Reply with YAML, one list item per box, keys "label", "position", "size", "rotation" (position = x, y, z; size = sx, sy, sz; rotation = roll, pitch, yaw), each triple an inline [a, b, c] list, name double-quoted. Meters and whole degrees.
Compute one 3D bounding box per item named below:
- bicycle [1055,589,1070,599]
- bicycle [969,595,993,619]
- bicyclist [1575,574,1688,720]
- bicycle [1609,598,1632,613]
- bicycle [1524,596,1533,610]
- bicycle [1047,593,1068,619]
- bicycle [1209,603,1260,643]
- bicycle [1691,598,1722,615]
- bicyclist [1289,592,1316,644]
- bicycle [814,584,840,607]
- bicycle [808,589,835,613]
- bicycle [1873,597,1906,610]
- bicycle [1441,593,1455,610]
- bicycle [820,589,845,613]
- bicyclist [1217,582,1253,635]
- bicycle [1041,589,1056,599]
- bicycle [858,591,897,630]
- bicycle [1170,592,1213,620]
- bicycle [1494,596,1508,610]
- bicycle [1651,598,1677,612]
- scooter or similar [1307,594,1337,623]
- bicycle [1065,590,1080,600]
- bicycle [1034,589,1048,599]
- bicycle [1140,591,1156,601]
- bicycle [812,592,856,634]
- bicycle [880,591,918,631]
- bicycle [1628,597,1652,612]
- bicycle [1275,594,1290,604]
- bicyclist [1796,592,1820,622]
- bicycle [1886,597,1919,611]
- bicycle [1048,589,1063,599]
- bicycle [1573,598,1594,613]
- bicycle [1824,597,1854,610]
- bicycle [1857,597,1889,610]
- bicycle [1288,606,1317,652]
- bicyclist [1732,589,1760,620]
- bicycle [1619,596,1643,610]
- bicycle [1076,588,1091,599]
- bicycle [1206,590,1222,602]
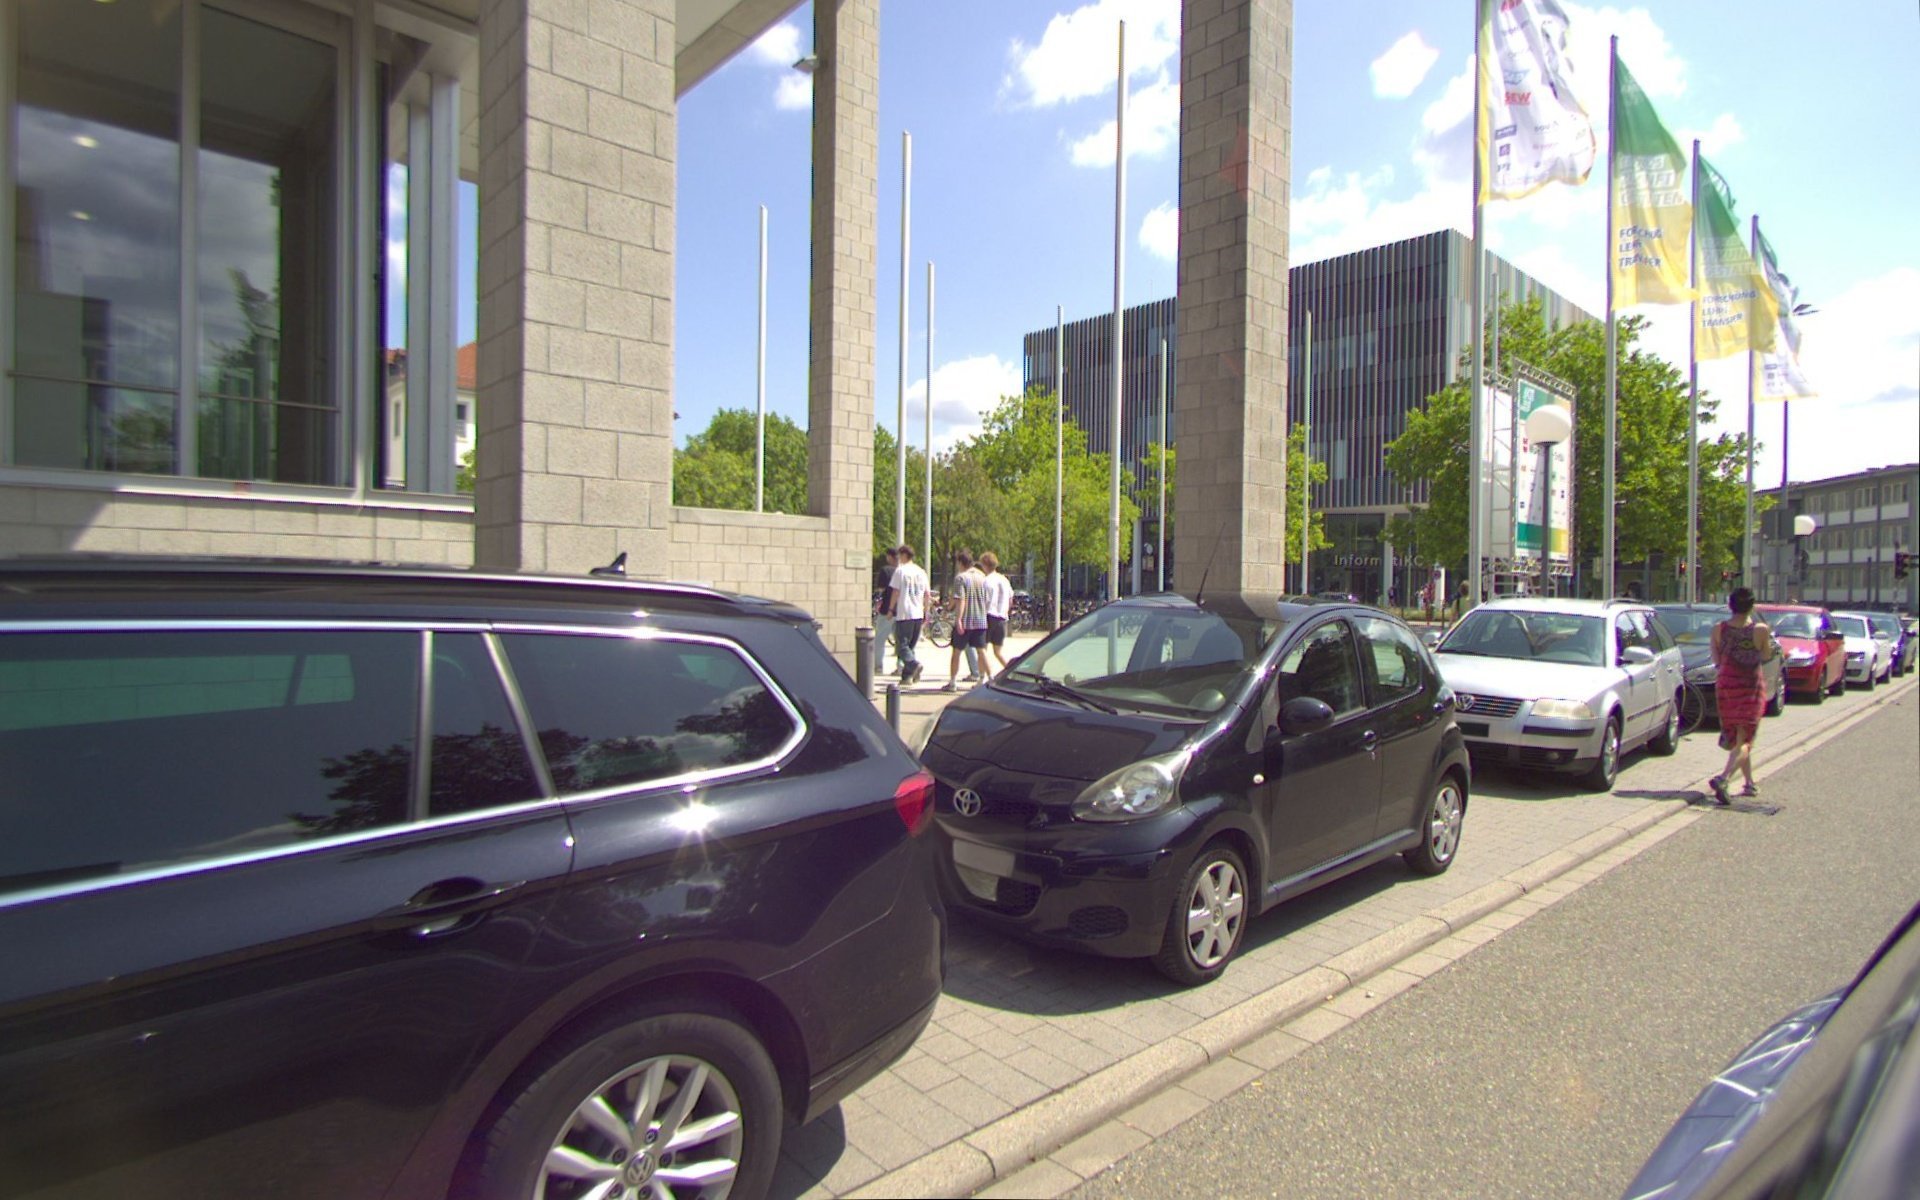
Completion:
- label: "bicycle"
  position: [10.525, -0.663, 104.143]
  size: [1.755, 0.967, 0.432]
  rotation: [-2, 2, -43]
- label: "bicycle"
  position: [0.894, 0.297, 42.663]
  size: [0.596, 0.966, 1.758]
  rotation: [0, 0, 17]
- label: "bicyclist"
  position: [7.692, 0.506, 11.611]
  size: [0.652, 1.583, 0.931]
  rotation: [1, 1, -42]
- label: "bicycle"
  position: [47.062, 0.376, 72.124]
  size: [0.519, 0.967, 1.773]
  rotation: [0, 1, 2]
- label: "bicycle"
  position: [41.455, 0.204, 73.813]
  size: [0.524, 0.967, 1.756]
  rotation: [1, 2, 28]
- label: "bicycle"
  position: [4.548, 0.269, 47.134]
  size: [0.596, 1.112, 1.759]
  rotation: [0, 2, 17]
- label: "bicycle"
  position: [8.324, 0.691, 30.693]
  size: [1.663, 1.152, 0.681]
  rotation: [2, 0, -43]
- label: "bicycle"
  position: [47.122, 0.399, 63.887]
  size: [0.518, 0.967, 1.775]
  rotation: [0, 1, -4]
- label: "bicyclist"
  position: [9.070, 0.480, 26.799]
  size: [0.599, 1.337, 0.739]
  rotation: [2, 0, 16]
- label: "bicycle"
  position: [-6.662, -0.227, 50.755]
  size: [0.595, 1.112, 1.759]
  rotation: [0, 2, 16]
- label: "bicycle"
  position: [-6.676, 0.035, 48.870]
  size: [0.584, 1.112, 1.759]
  rotation: [0, 2, 16]
- label: "bicycle"
  position: [70.839, 0.247, 77.123]
  size: [1.751, 0.967, 0.526]
  rotation: [1, 2, 21]
- label: "bicycle"
  position: [36.054, 0.109, 74.785]
  size: [1.521, 1.201, 0.373]
  rotation: [-2, 3, -44]
- label: "bicycle"
  position: [-6.109, 0.039, 48.641]
  size: [0.509, 1.112, 1.759]
  rotation: [0, 2, 16]
- label: "bicyclist"
  position: [8.344, 0.253, 30.702]
  size: [0.864, 1.589, 0.681]
  rotation: [2, 0, -42]
- label: "bicycle"
  position: [9.216, -0.622, 105.521]
  size: [1.755, 0.967, 0.432]
  rotation: [-2, 2, -43]
- label: "bicycle"
  position: [-2.556, 0.304, 31.455]
  size: [0.595, 1.112, 1.759]
  rotation: [0, 2, 16]
- label: "bicycle"
  position: [10.816, 0.261, 47.355]
  size: [0.784, 1.198, 2.033]
  rotation: [-1, 2, -31]
- label: "bicycle"
  position: [39.769, 0.221, 74.392]
  size: [0.367, 0.967, 1.769]
  rotation: [0, 1, 9]
- label: "bicycle"
  position: [50.040, 0.335, 71.965]
  size: [0.518, 0.967, 1.775]
  rotation: [0, 1, -4]
- label: "scooter or similar"
  position: [15.471, 0.354, 43.292]
  size: [0.347, 1.180, 1.191]
  rotation: [-2, 2, -41]
- label: "bicycle"
  position: [11.437, -0.494, 102.927]
  size: [1.755, 0.967, 0.432]
  rotation: [-2, 2, -43]
- label: "bicycle"
  position: [8.508, -0.607, 106.390]
  size: [1.755, 0.967, 0.432]
  rotation: [-2, 2, -43]
- label: "bicycle"
  position: [17.782, -0.370, 95.730]
  size: [1.515, 0.967, 0.374]
  rotation: [-2, 2, -27]
- label: "bicycle"
  position: [-3.572, 0.343, 28.864]
  size: [0.595, 1.112, 1.759]
  rotation: [0, 2, 16]
- label: "bicycle"
  position: [-1.825, 0.321, 30.645]
  size: [0.595, 1.112, 1.759]
  rotation: [0, 2, 16]
- label: "bicycle"
  position: [48.400, 0.326, 72.037]
  size: [0.519, 0.967, 1.773]
  rotation: [0, 1, 2]
- label: "bicycle"
  position: [27.372, -0.094, 85.895]
  size: [1.519, 0.785, 0.373]
  rotation: [-2, 2, -39]
- label: "bicyclist"
  position: [44.338, 0.363, 52.900]
  size: [0.777, 1.558, 0.652]
  rotation: [0, 0, 24]
- label: "bicycle"
  position: [70.572, 0.306, 75.740]
  size: [1.753, 0.967, 0.525]
  rotation: [1, 3, 23]
- label: "bicycle"
  position: [9.910, -0.584, 104.795]
  size: [1.755, 0.967, 0.432]
  rotation: [-2, 2, -43]
- label: "bicycle"
  position: [44.975, 0.413, 72.996]
  size: [0.519, 0.967, 1.772]
  rotation: [-3, 2, 4]
- label: "bicycle"
  position: [71.931, 0.260, 82.835]
  size: [1.751, 0.967, 0.526]
  rotation: [1, 2, 21]
- label: "bicycle"
  position: [71.447, 0.256, 79.224]
  size: [1.751, 0.967, 0.526]
  rotation: [1, 2, 21]
- label: "bicycle"
  position: [9.056, 0.750, 26.784]
  size: [0.599, 1.152, 1.580]
  rotation: [2, 0, 15]
- label: "bicyclist"
  position: [41.806, 0.232, 53.849]
  size: [0.987, 1.636, 0.653]
  rotation: [0, 0, 20]
- label: "bicycle"
  position: [47.762, 0.206, 72.072]
  size: [0.519, 0.967, 1.773]
  rotation: [0, 1, 2]
- label: "bicycle"
  position: [12.473, -0.659, 101.900]
  size: [1.755, 0.967, 0.432]
  rotation: [-2, 2, -43]
- label: "bicycle"
  position: [22.707, -0.374, 90.542]
  size: [1.515, 0.967, 0.374]
  rotation: [-2, 2, -27]
